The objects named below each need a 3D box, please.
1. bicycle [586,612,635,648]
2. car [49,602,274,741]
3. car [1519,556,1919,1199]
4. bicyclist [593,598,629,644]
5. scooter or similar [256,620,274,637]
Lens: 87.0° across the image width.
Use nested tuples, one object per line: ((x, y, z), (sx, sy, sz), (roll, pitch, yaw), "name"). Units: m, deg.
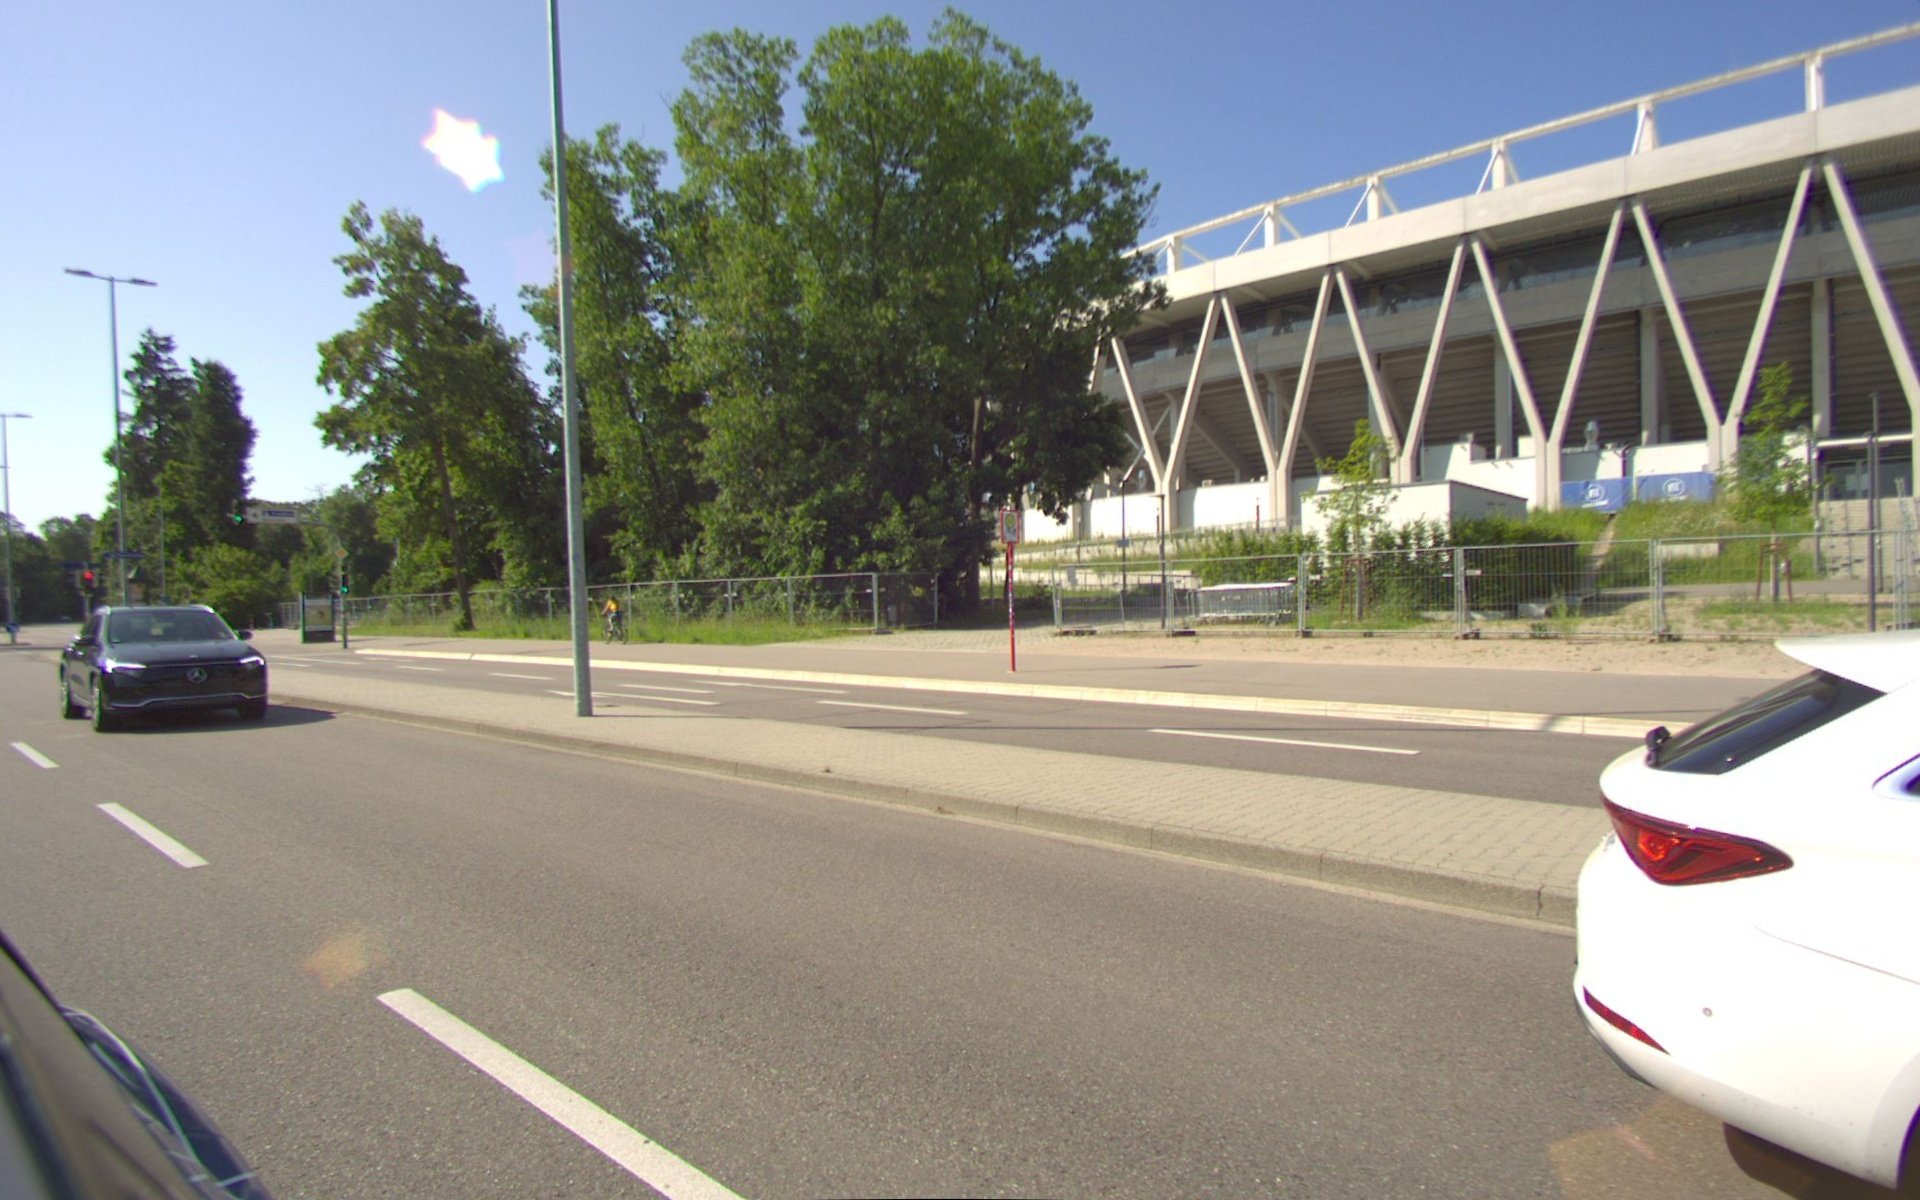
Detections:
((-11.763, 1.010, 34.018), (1.877, 1.144, 0.653), (-2, 1, 41), "bicycle")
((-11.267, 0.895, 14.169), (4.272, 1.608, 1.785), (-1, 0, 43), "car")
((3.678, 0.593, 1.503), (4.718, 1.437, 1.707), (-2, -1, 42), "car")
((-11.708, 0.710, 33.947), (1.056, 1.478, 0.653), (-2, 1, 41), "bicyclist")
((-52.593, 2.163, 76.553), (0.393, 1.231, 1.075), (-2, 0, 19), "scooter or similar")
